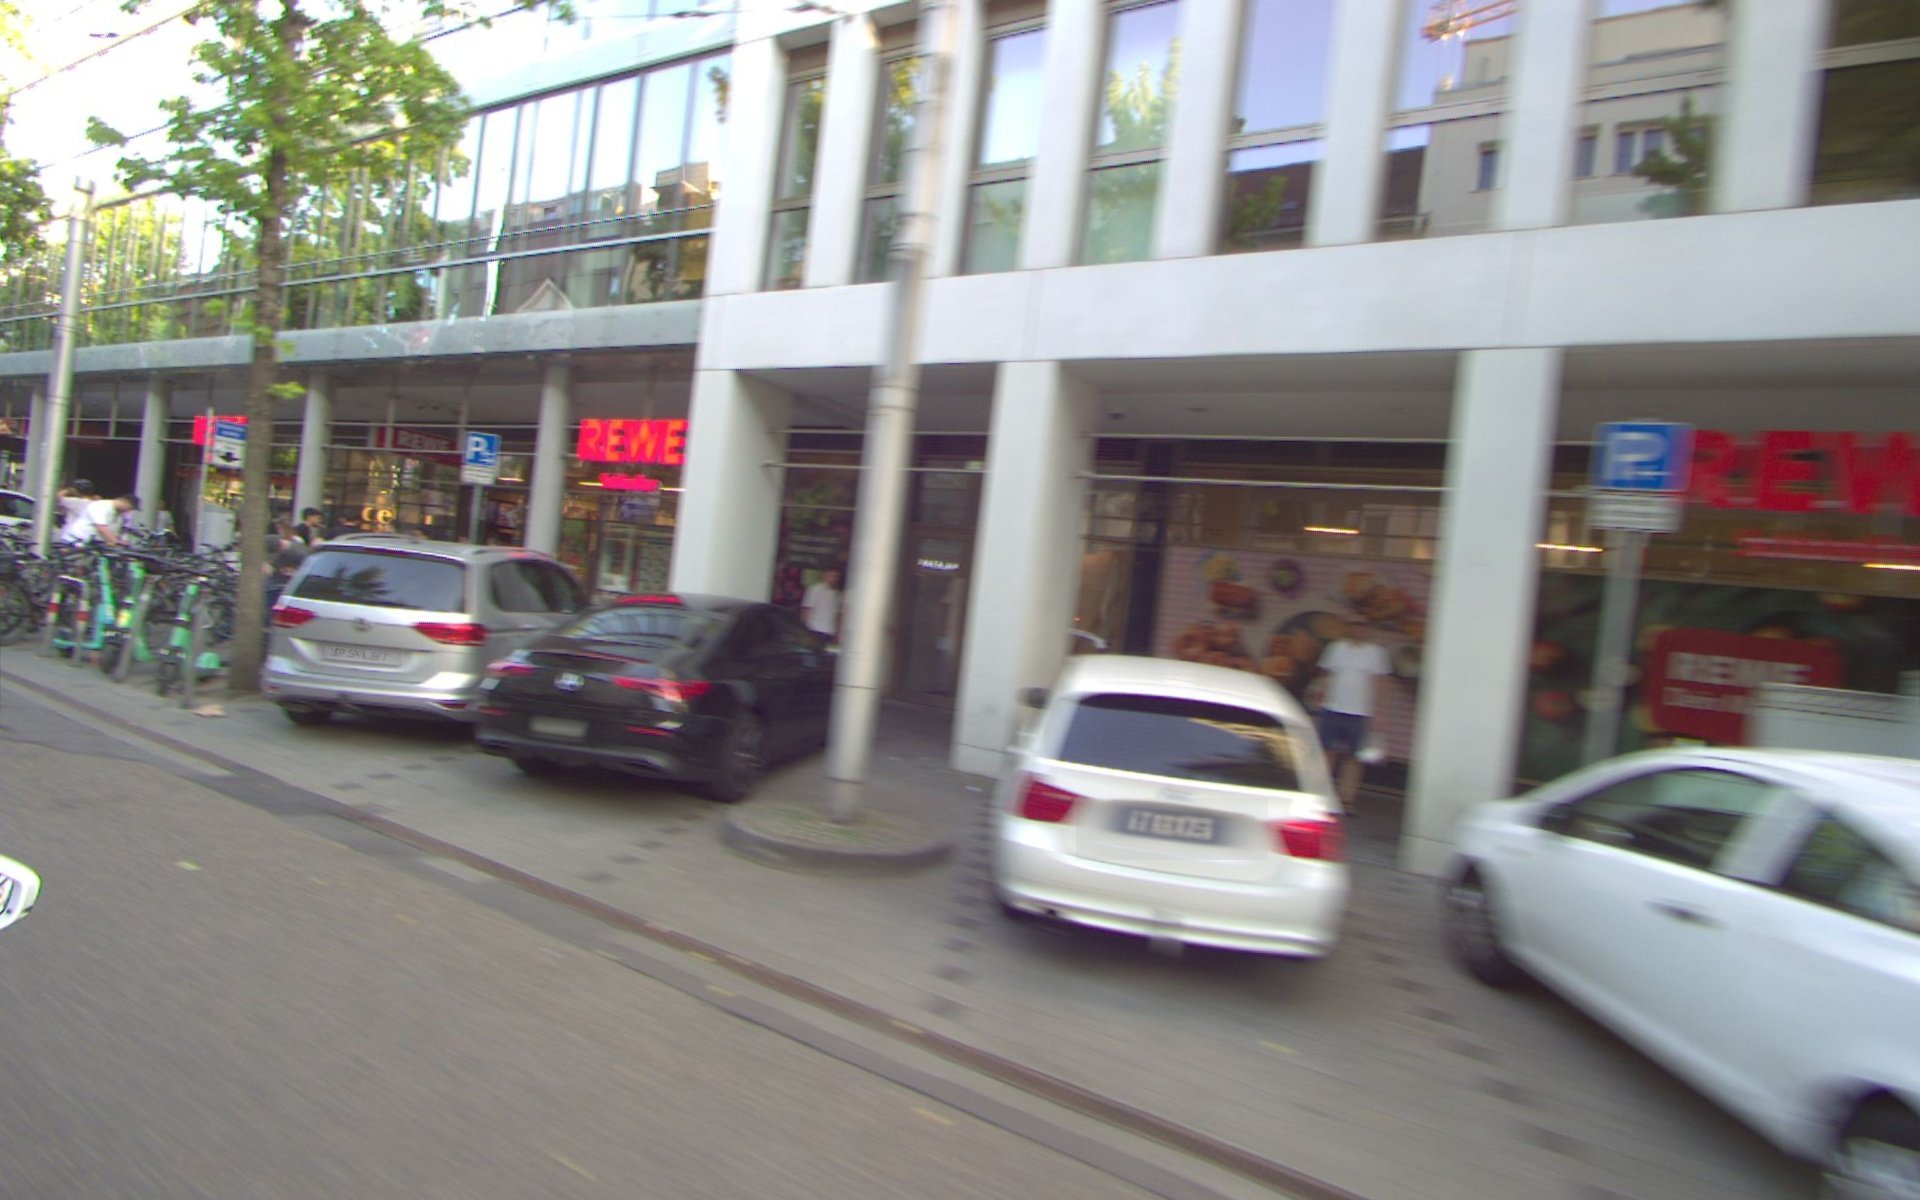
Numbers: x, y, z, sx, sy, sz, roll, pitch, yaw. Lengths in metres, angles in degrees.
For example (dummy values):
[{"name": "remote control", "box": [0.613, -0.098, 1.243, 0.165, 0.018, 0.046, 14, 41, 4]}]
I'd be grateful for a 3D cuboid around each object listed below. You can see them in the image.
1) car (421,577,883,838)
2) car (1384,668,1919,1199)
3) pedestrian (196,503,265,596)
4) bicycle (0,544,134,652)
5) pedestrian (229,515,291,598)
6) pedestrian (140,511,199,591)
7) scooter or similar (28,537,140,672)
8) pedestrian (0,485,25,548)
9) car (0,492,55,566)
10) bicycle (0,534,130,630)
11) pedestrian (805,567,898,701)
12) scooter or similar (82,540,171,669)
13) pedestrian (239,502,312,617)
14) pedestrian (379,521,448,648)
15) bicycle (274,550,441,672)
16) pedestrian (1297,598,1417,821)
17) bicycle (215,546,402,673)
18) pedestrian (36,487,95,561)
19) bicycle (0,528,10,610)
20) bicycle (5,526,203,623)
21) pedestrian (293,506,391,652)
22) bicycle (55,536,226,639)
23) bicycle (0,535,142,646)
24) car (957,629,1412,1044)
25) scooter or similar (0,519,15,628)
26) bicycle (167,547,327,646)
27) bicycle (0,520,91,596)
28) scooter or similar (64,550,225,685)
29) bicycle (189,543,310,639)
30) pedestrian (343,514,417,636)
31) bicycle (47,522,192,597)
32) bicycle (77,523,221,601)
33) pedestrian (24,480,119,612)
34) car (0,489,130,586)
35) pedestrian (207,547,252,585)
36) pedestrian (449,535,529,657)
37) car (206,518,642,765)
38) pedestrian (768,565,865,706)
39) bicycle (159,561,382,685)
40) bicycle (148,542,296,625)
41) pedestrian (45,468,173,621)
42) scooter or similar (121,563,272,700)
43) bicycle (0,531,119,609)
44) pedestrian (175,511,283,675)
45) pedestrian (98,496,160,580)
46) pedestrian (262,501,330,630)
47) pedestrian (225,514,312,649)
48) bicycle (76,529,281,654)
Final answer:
[{"name": "car", "box": [-2.169, 0.667, 8.547, 1.918, 1.441, 4.349, 6, 1, 9]}, {"name": "car", "box": [3.459, 1.276, 4.053, 1.762, 1.521, 4.066, 5, 1, 2]}, {"name": "pedestrian", "box": [-14.810, -1.020, 20.428, 0.792, 1.719, 0.681, 8, 0, 30]}, {"name": "bicycle", "box": [-10.172, -0.037, 11.144, 0.485, 1.090, 1.748, 7, 1, 1]}, {"name": "pedestrian", "box": [-14.254, -0.887, 20.485, 0.653, 1.566, 0.681, 6, -1, 30]}, {"name": "pedestrian", "box": [-18.157, -1.116, 23.116, 0.792, 1.719, 0.663, 6, -1, 30]}, {"name": "scooter or similar", "box": [-8.858, 0.035, 10.163, 1.194, 1.238, 0.482, 6, 2, 32]}, {"name": "pedestrian", "box": [-25.718, -2.263, 27.026, 0.742, 1.637, 0.596, 8, 2, 30]}, {"name": "car", "box": [-20.616, -1.537, 19.588, 1.828, 1.477, 4.183, 6, 1, 8]}, {"name": "bicycle", "box": [-11.656, -0.248, 12.796, 0.612, 1.090, 1.831, 7, 2, -1]}, {"name": "pedestrian", "box": [-1.494, 0.477, 13.873, 0.792, 1.719, 0.681, 8, 0, 30]}, {"name": "scooter or similar", "box": [-8.871, 0.032, 10.694, 0.566, 1.220, 1.265, 5, 2, -44]}, {"name": "pedestrian", "box": [-11.662, -0.685, 17.163, 0.782, 1.836, 0.656, 6, 2, -24]}, {"name": "pedestrian", "box": [-8.122, -0.237, 14.984, 0.723, 1.776, 0.712, 5, 2, -26]}, {"name": "bicycle", "box": [-7.355, 0.135, 12.346, 1.572, 1.305, 0.577, 6, 2, -20]}, {"name": "pedestrian", "box": [3.734, 1.011, 9.434, 0.671, 1.919, 0.804, 8, 0, 32]}, {"name": "bicycle", "box": [-7.499, 0.114, 11.667, 1.640, 1.266, 0.637, 6, 2, -24]}, {"name": "pedestrian", "box": [-23.607, -2.008, 26.557, 0.742, 1.805, 0.878, 8, 2, 30]}, {"name": "bicycle", "box": [-13.730, -0.471, 13.193, 0.792, 1.131, 1.749, 7, 0, -1]}, {"name": "bicycle", "box": [-11.667, -0.317, 13.815, 0.685, 1.163, 2.000, 7, 1, 13]}, {"name": "pedestrian", "box": [-8.401, -0.288, 13.726, 0.876, 1.836, 0.932, 6, 2, -24]}, {"name": "bicycle", "box": [-10.216, -0.141, 12.623, 0.469, 1.153, 1.687, 7, 1, 11]}, {"name": "bicycle", "box": [-10.528, -0.123, 11.466, 0.668, 1.145, 1.992, 7, 1, 1]}, {"name": "car", "box": [1.284, 1.069, 6.530, 1.794, 1.441, 4.349, 6, 1, 9]}, {"name": "scooter or similar", "box": [-12.317, -0.398, 11.937, 1.369, 1.321, 0.696, 7, 1, -8]}, {"name": "bicycle", "box": [-9.254, -0.030, 13.134, 0.492, 1.164, 1.695, 7, 1, 16]}, {"name": "bicycle", "box": [-15.157, -0.684, 16.129, 0.902, 1.131, 1.748, 6, 0, -3]}, {"name": "scooter or similar", "box": [-8.026, 0.167, 9.970, 0.490, 1.196, 1.331, 7, 0, -6]}, {"name": "bicycle", "box": [-9.913, -0.140, 14.106, 0.545, 1.205, 1.692, 6, 1, -7]}, {"name": "pedestrian", "box": [-9.219, -0.387, 16.003, 0.705, 1.836, 0.657, 7, 2, 35]}, {"name": "bicycle", "box": [-14.818, -0.683, 17.807, 0.918, 1.131, 1.750, 6, 0, 7]}, {"name": "bicycle", "box": [-13.480, -0.601, 16.801, 0.828, 1.131, 1.791, 6, 1, 2]}, {"name": "pedestrian", "box": [-13.121, -0.792, 14.875, 0.590, 1.837, 0.817, 7, 3, -7]}, {"name": "car", "box": [-16.812, -1.125, 17.071, 1.842, 1.583, 4.340, 6, 1, -1]}, {"name": "pedestrian", "box": [-17.126, -0.794, 23.585, 0.653, 0.791, 0.608, 6, -1, 33]}, {"name": "pedestrian", "box": [-6.509, -0.056, 13.900, 0.756, 1.591, 0.625, 6, 0, -37]}, {"name": "car", "box": [-4.742, 0.276, 9.864, 1.920, 1.661, 4.670, 6, 1, -4]}, {"name": "pedestrian", "box": [-1.888, 0.471, 13.248, 0.792, 1.719, 0.681, 8, 0, 30]}, {"name": "bicycle", "box": [-7.417, 0.242, 10.877, 1.846, 1.090, 0.630, 7, 2, -5]}, {"name": "bicycle", "box": [-11.273, -0.238, 15.454, 0.809, 1.108, 1.833, 7, 0, 0]}, {"name": "pedestrian", "box": [-11.660, -0.738, 13.808, 0.846, 1.939, 0.951, 8, 3, 19]}, {"name": "scooter or similar", "box": [-7.273, 0.266, 9.652, 0.571, 1.164, 1.396, 7, 1, -15]}, {"name": "bicycle", "box": [-13.582, -0.468, 15.079, 0.543, 1.048, 1.594, 6, 3, 2]}, {"name": "pedestrian", "box": [-7.859, -0.080, 10.807, 0.786, 1.647, 0.760, 5, 2, -40]}, {"name": "pedestrian", "box": [-18.267, -1.359, 22.120, 0.792, 1.719, 0.681, 6, -1, 30]}, {"name": "pedestrian", "box": [-9.931, -0.516, 15.066, 0.652, 1.836, 0.711, 5, 2, -29]}, {"name": "pedestrian", "box": [-8.967, -0.238, 13.074, 0.696, 1.645, 0.656, 6, 2, -24]}, {"name": "bicycle", "box": [-9.156, -0.082, 11.889, 0.668, 1.290, 1.833, 7, 1, 13]}]
